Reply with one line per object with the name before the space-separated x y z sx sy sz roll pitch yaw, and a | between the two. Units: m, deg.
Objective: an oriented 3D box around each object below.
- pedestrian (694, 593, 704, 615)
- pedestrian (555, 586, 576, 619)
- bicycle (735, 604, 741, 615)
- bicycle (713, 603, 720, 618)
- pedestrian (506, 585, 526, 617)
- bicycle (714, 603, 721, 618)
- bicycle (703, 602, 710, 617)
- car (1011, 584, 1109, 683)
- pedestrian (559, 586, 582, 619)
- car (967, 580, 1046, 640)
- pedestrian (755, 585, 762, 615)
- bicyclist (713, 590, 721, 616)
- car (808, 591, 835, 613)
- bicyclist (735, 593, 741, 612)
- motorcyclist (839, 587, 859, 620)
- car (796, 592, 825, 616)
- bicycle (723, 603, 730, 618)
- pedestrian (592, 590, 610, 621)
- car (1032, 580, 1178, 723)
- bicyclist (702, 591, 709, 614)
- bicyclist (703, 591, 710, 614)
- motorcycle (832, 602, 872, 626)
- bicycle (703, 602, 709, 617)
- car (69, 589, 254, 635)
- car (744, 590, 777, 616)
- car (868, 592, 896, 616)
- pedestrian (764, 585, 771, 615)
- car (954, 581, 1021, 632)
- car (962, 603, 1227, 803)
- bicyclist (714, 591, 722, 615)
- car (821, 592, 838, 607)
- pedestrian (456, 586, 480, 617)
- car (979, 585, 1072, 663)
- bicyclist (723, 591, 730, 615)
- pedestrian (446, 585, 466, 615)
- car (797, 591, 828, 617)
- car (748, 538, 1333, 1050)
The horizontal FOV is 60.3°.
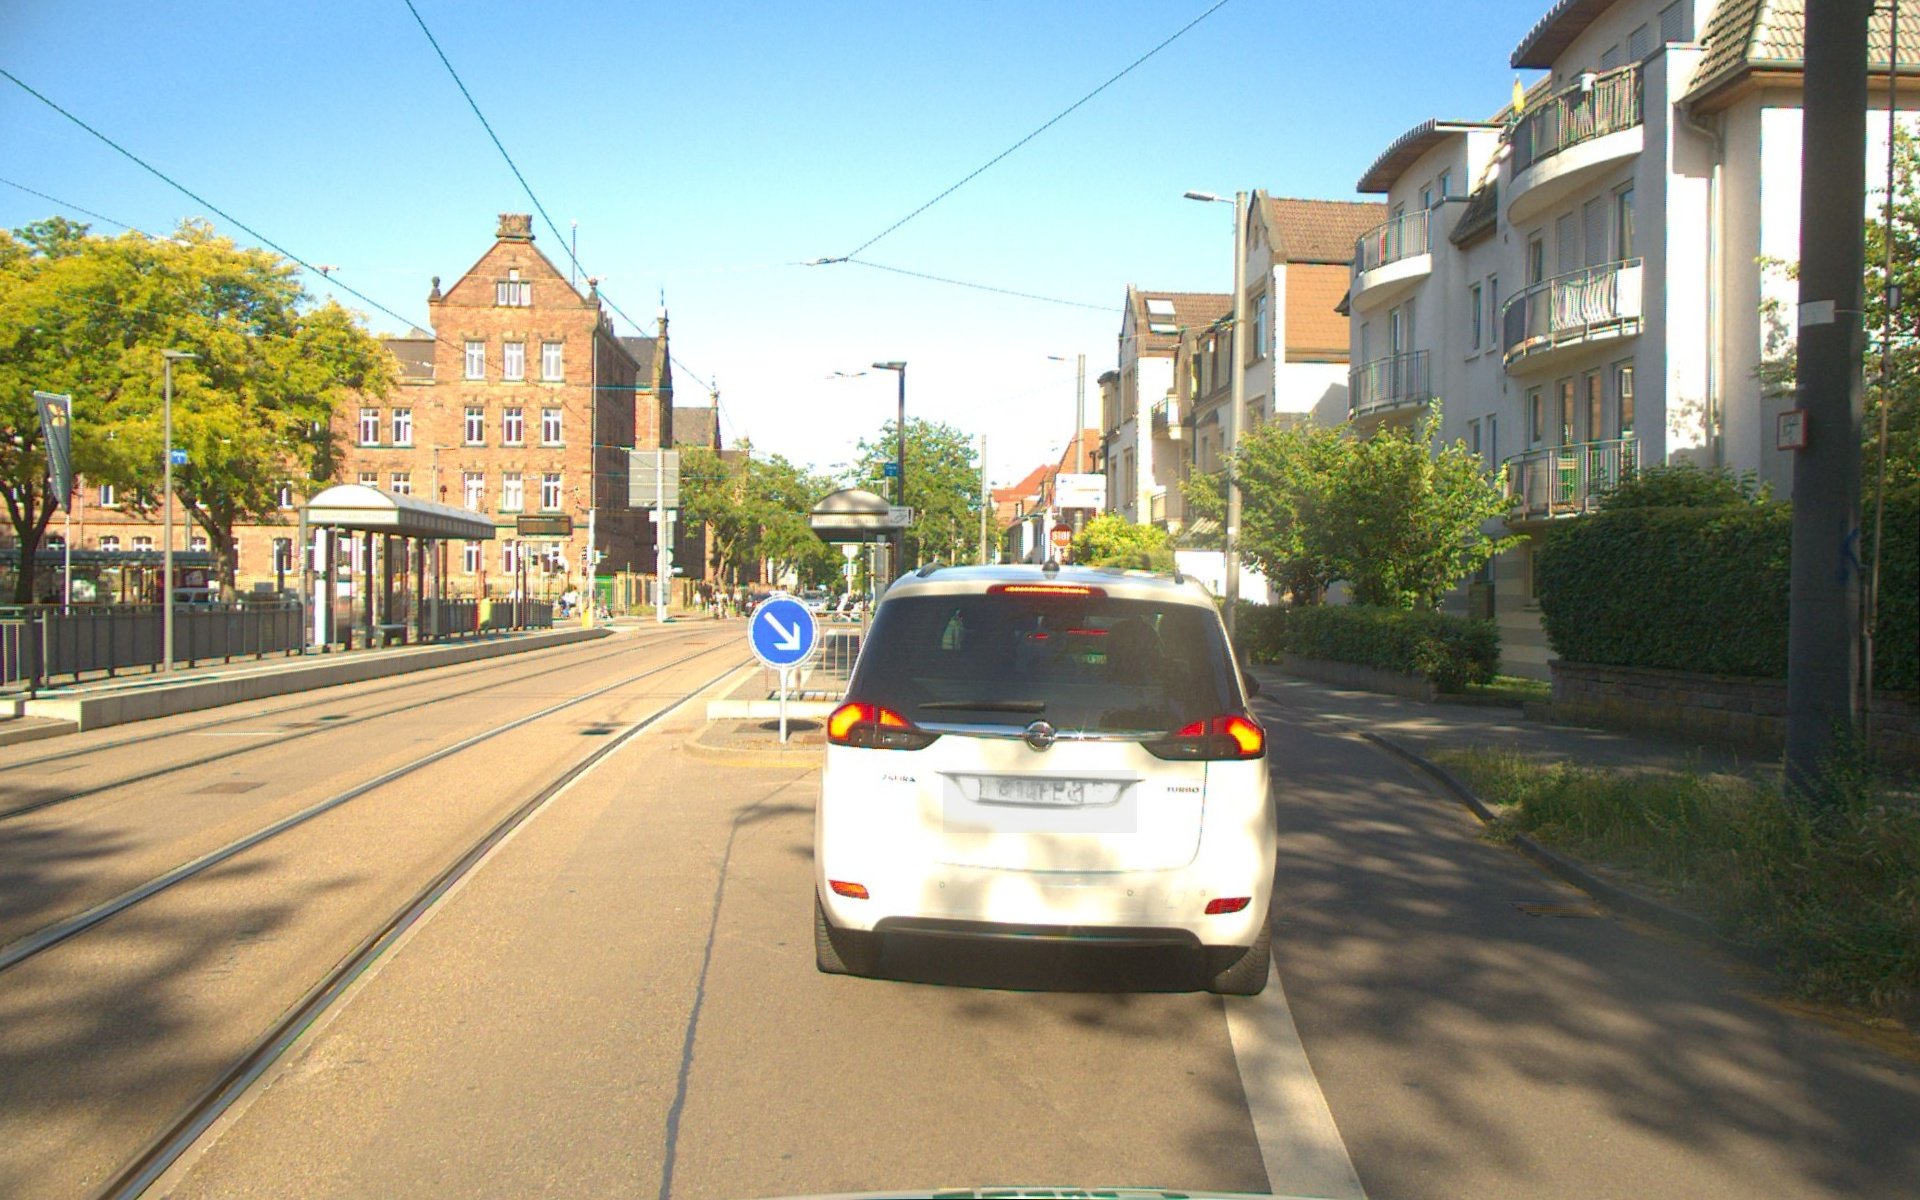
pedestrian | -21.162 0.341 134.250 0.720 1.744 0.753 1 -1 -6
pedestrian | -20.641 0.129 86.605 0.825 1.721 1.029 1 0 -1
bicycle | -15.333 0.626 114.021 0.337 0.737 0.996 1 0 -4
bicycle | -15.161 0.651 102.839 0.337 0.966 1.159 1 0 -4
pedestrian | -23.025 0.055 85.770 0.786 1.616 0.934 1 0 -3
bicycle | -15.609 0.658 106.365 0.337 0.966 0.996 1 0 -4
bicycle | -17.315 0.656 113.034 0.337 0.966 0.996 1 0 -4
car | 1.712 0.551 29.270 1.603 1.629 3.855 0 0 1
pedestrian | -20.039 0.126 85.094 0.877 1.713 1.029 1 0 -1
car | 1.199 0.258 44.311 1.953 1.529 3.999 0 0 -1
pedestrian | -13.645 0.005 111.732 0.435 2.049 0.495 0 0 -4
bicyclist | -15.152 0.176 103.047 0.435 1.580 0.742 0 0 -4
car | -10.938 0.140 130.482 1.953 1.657 3.998 0 0 -3
bicyclist | -15.319 0.189 114.015 0.352 1.326 0.397 0 0 -4
motorcyclist | -5.654 0.190 84.312 0.835 1.650 0.608 0 0 -35
car | -10.349 0.260 114.253 1.955 1.657 3.996 0 0 -5
bicycle | -15.392 0.672 108.917 0.337 0.966 0.996 1 0 -4
pedestrian | -20.739 0.328 95.460 0.719 1.744 0.706 1 -1 22
car | 1.738 0.585 20.842 1.603 1.629 3.855 0 0 1
bicyclist | -17.647 0.182 114.822 0.435 1.580 0.495 0 0 -4
bicyclist | -17.330 0.180 112.992 0.435 1.580 0.495 0 0 -4
motorcycle | -5.520 0.722 84.409 2.051 1.219 0.606 0 0 -35
bicycle | -17.653 0.658 114.858 0.337 0.966 0.996 1 0 -4
car | -35.725 0.529 74.191 6.810 1.954 2.991 0 0 -2
car | -12.855 0.194 106.886 1.955 1.657 3.996 0 0 -5
car | -5.662 0.267 119.657 1.954 1.657 3.997 0 0 -4
pedestrian | -13.048 0.016 112.051 0.435 2.049 0.495 0 0 -4
car | 0.828 0.191 51.767 1.953 1.529 3.999 0 0 -1
car | 1.028 0.748 13.983 1.912 1.422 4.001 0 0 1
bicyclist | -15.573 0.183 106.323 0.435 1.580 0.495 0 0 -4
car | -16.613 -0.064 211.035 1.953 1.896 3.998 1 0 -2
pedestrian | -26.583 0.079 89.374 0.914 1.616 0.803 1 -1 29
car | 1.378 0.492 36.190 1.793 1.607 4.009 0 0 -1
bicyclist | -15.381 0.198 108.910 0.435 1.580 0.495 0 0 -4
pedestrian | -26.976 -0.001 88.558 0.915 1.616 0.802 1 -1 -12
car | -9.545 0.244 107.159 1.955 1.657 3.996 0 0 -5
car | 0.454 0.648 7.596 1.951 1.673 3.996 1 0 6
